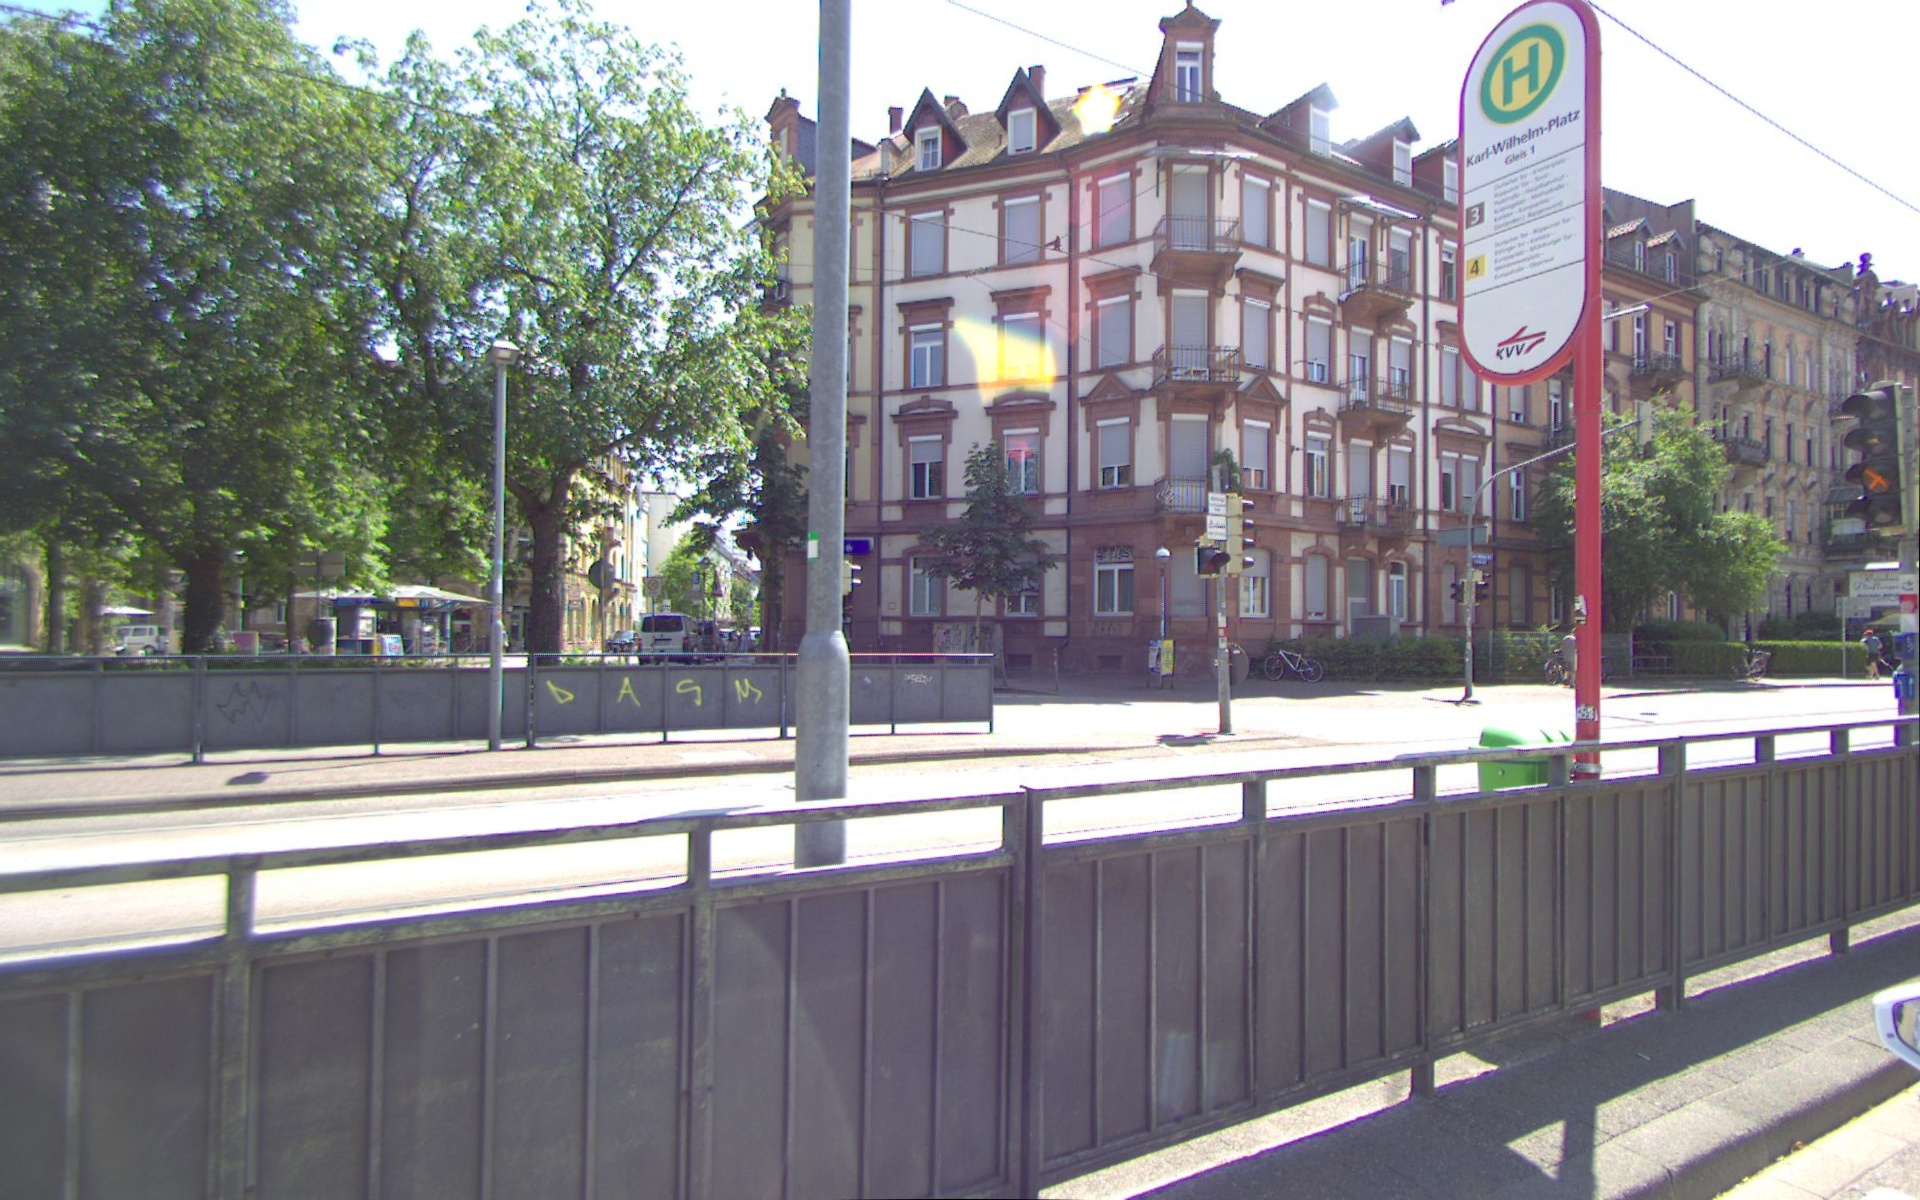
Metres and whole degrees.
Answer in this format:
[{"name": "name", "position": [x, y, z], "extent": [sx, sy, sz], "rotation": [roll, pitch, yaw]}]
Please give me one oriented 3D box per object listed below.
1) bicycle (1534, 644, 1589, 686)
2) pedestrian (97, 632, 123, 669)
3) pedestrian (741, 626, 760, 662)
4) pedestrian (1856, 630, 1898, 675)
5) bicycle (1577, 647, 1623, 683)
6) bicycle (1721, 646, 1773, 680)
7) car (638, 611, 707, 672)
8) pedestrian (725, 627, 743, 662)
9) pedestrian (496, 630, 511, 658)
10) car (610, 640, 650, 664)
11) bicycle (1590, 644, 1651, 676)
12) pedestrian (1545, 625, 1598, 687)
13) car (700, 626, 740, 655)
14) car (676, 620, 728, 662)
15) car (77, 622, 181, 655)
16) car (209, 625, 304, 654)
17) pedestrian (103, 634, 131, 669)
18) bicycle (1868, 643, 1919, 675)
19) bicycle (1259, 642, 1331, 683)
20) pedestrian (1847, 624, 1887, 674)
[{"name": "bicycle", "position": [17.750, 1.905, 29.636], "extent": [1.694, 1.184, 0.571], "rotation": [1, -2, -27]}, {"name": "pedestrian", "position": [-32.512, 1.928, 38.422], "extent": [0.696, 1.367, 0.597], "rotation": [1, -2, -36]}, {"name": "pedestrian", "position": [-9.658, 2.037, 46.304], "extent": [0.729, 1.625, 0.761], "rotation": [1, -1, -6]}, {"name": "pedestrian", "position": [35.759, 2.026, 39.180], "extent": [0.808, 1.722, 0.911], "rotation": [1, -2, -3]}, {"name": "bicycle", "position": [19.578, 1.981, 30.728], "extent": [1.544, 1.070, 0.458], "rotation": [1, -2, -27]}, {"name": "bicycle", "position": [26.472, 2.114, 33.776], "extent": [1.906, 1.108, 0.636], "rotation": [1, 0, -27]}, {"name": "car", "position": [-10.651, 1.529, 37.464], "extent": [1.964, 2.094, 4.582], "rotation": [1, -2, -10]}, {"name": "pedestrian", "position": [-10.373, 2.041, 46.136], "extent": [0.729, 1.625, 0.761], "rotation": [1, -1, -6]}, {"name": "pedestrian", "position": [-26.017, 2.492, 57.286], "extent": [0.539, 1.577, 0.501], "rotation": [0, -1, 15]}, {"name": "car", "position": [-22.897, 3.602, 69.770], "extent": [1.964, 1.584, 4.582], "rotation": [1, -2, -10]}, {"name": "bicycle", "position": [21.594, 1.947, 32.848], "extent": [0.489, 1.009, 1.640], "rotation": [1, -2, -27]}, {"name": "pedestrian", "position": [17.402, 1.587, 28.581], "extent": [0.999, 1.722, 0.870], "rotation": [1, -2, -24]}, {"name": "car", "position": [-13.961, 2.337, 58.527], "extent": [1.964, 1.584, 4.582], "rotation": [1, -2, -10]}, {"name": "car", "position": [-12.103, 1.916, 47.377], "extent": [1.964, 1.833, 4.582], "rotation": [1, -2, -10]}, {"name": "car", "position": [-45.326, 2.110, 54.849], "extent": [3.929, 1.720, 1.808], "rotation": [1, -2, -11]}, {"name": "car", "position": [-39.013, 2.196, 55.763], "extent": [3.929, 1.520, 1.691], "rotation": [1, -2, -11]}, {"name": "pedestrian", "position": [-33.266, 2.040, 39.623], "extent": [0.594, 1.367, 0.700], "rotation": [1, -2, -18]}, {"name": "bicycle", "position": [38.925, 2.427, 41.589], "extent": [0.562, 1.244, 1.860], "rotation": [1, 0, -32]}, {"name": "bicycle", "position": [9.598, 1.782, 28.816], "extent": [1.885, 1.122, 0.467], "rotation": [0, -2, 9]}, {"name": "pedestrian", "position": [34.949, 1.886, 38.702], "extent": [0.800, 1.881, 0.879], "rotation": [0, -2, 12]}]
